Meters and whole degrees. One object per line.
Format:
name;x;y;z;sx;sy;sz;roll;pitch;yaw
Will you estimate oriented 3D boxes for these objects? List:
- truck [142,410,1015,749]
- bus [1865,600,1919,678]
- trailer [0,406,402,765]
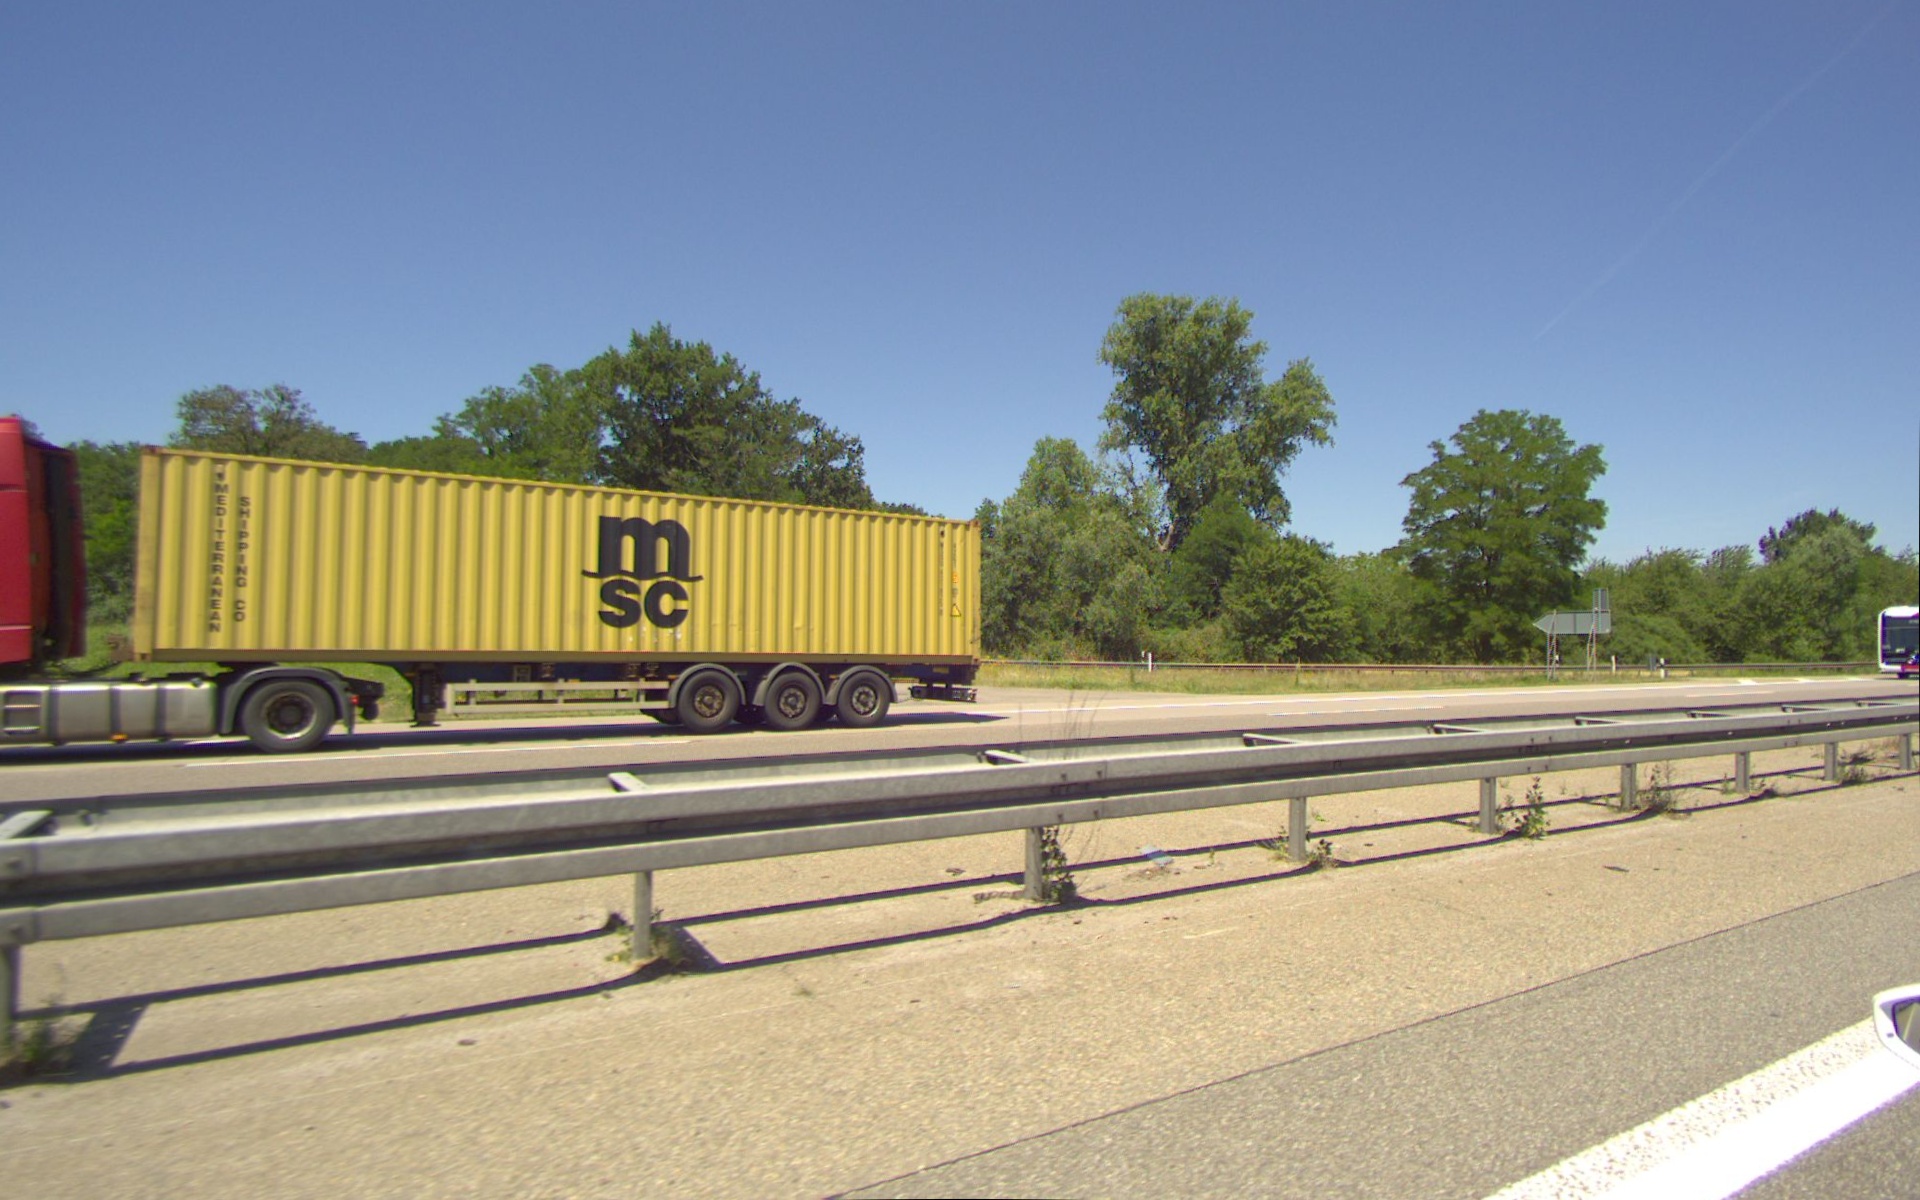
truck;-5.033;-0.027;16.437;12.544;4.100;2.588;2;-4;-31
bus;46.511;1.853;47.688;8.828;3.492;2.751;2;-2;-31
trailer;-10.670;-0.111;12.929;5.961;4.044;2.590;2;-2;-31
